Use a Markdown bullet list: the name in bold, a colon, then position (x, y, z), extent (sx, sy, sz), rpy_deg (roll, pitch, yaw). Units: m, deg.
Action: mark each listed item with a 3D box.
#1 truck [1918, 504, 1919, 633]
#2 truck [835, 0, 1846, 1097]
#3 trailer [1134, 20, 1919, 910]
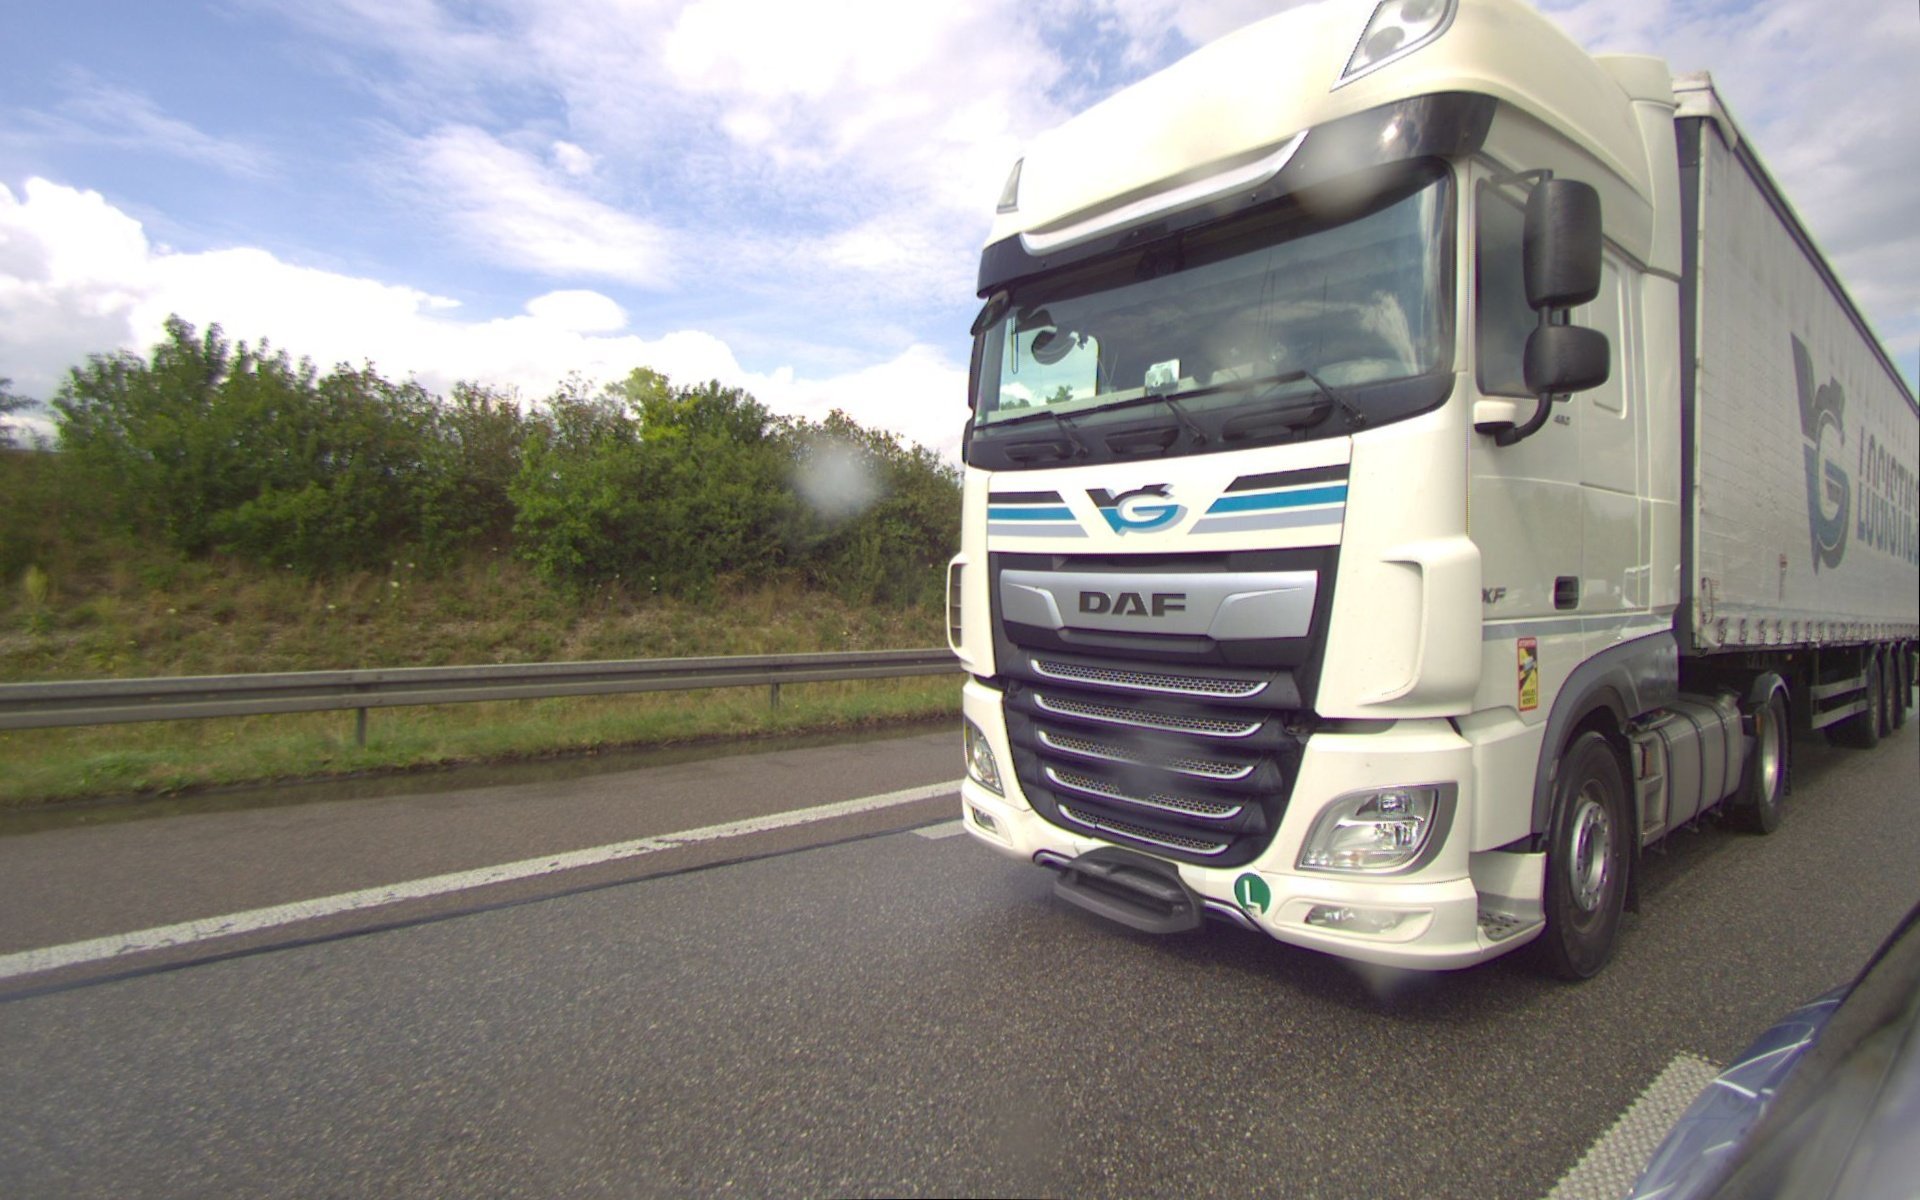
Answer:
- **truck**: position (35.405, -1.087, 35.336), extent (6.773, 4.328, 2.644), rpy_deg (-1, 0, -45)
- **truck**: position (2.759, -0.601, 6.174), extent (6.286, 3.940, 3.288), rpy_deg (0, 0, -42)
- **trailer**: position (7.420, -0.617, 10.391), extent (13.886, 3.948, 3.288), rpy_deg (0, 0, -42)
